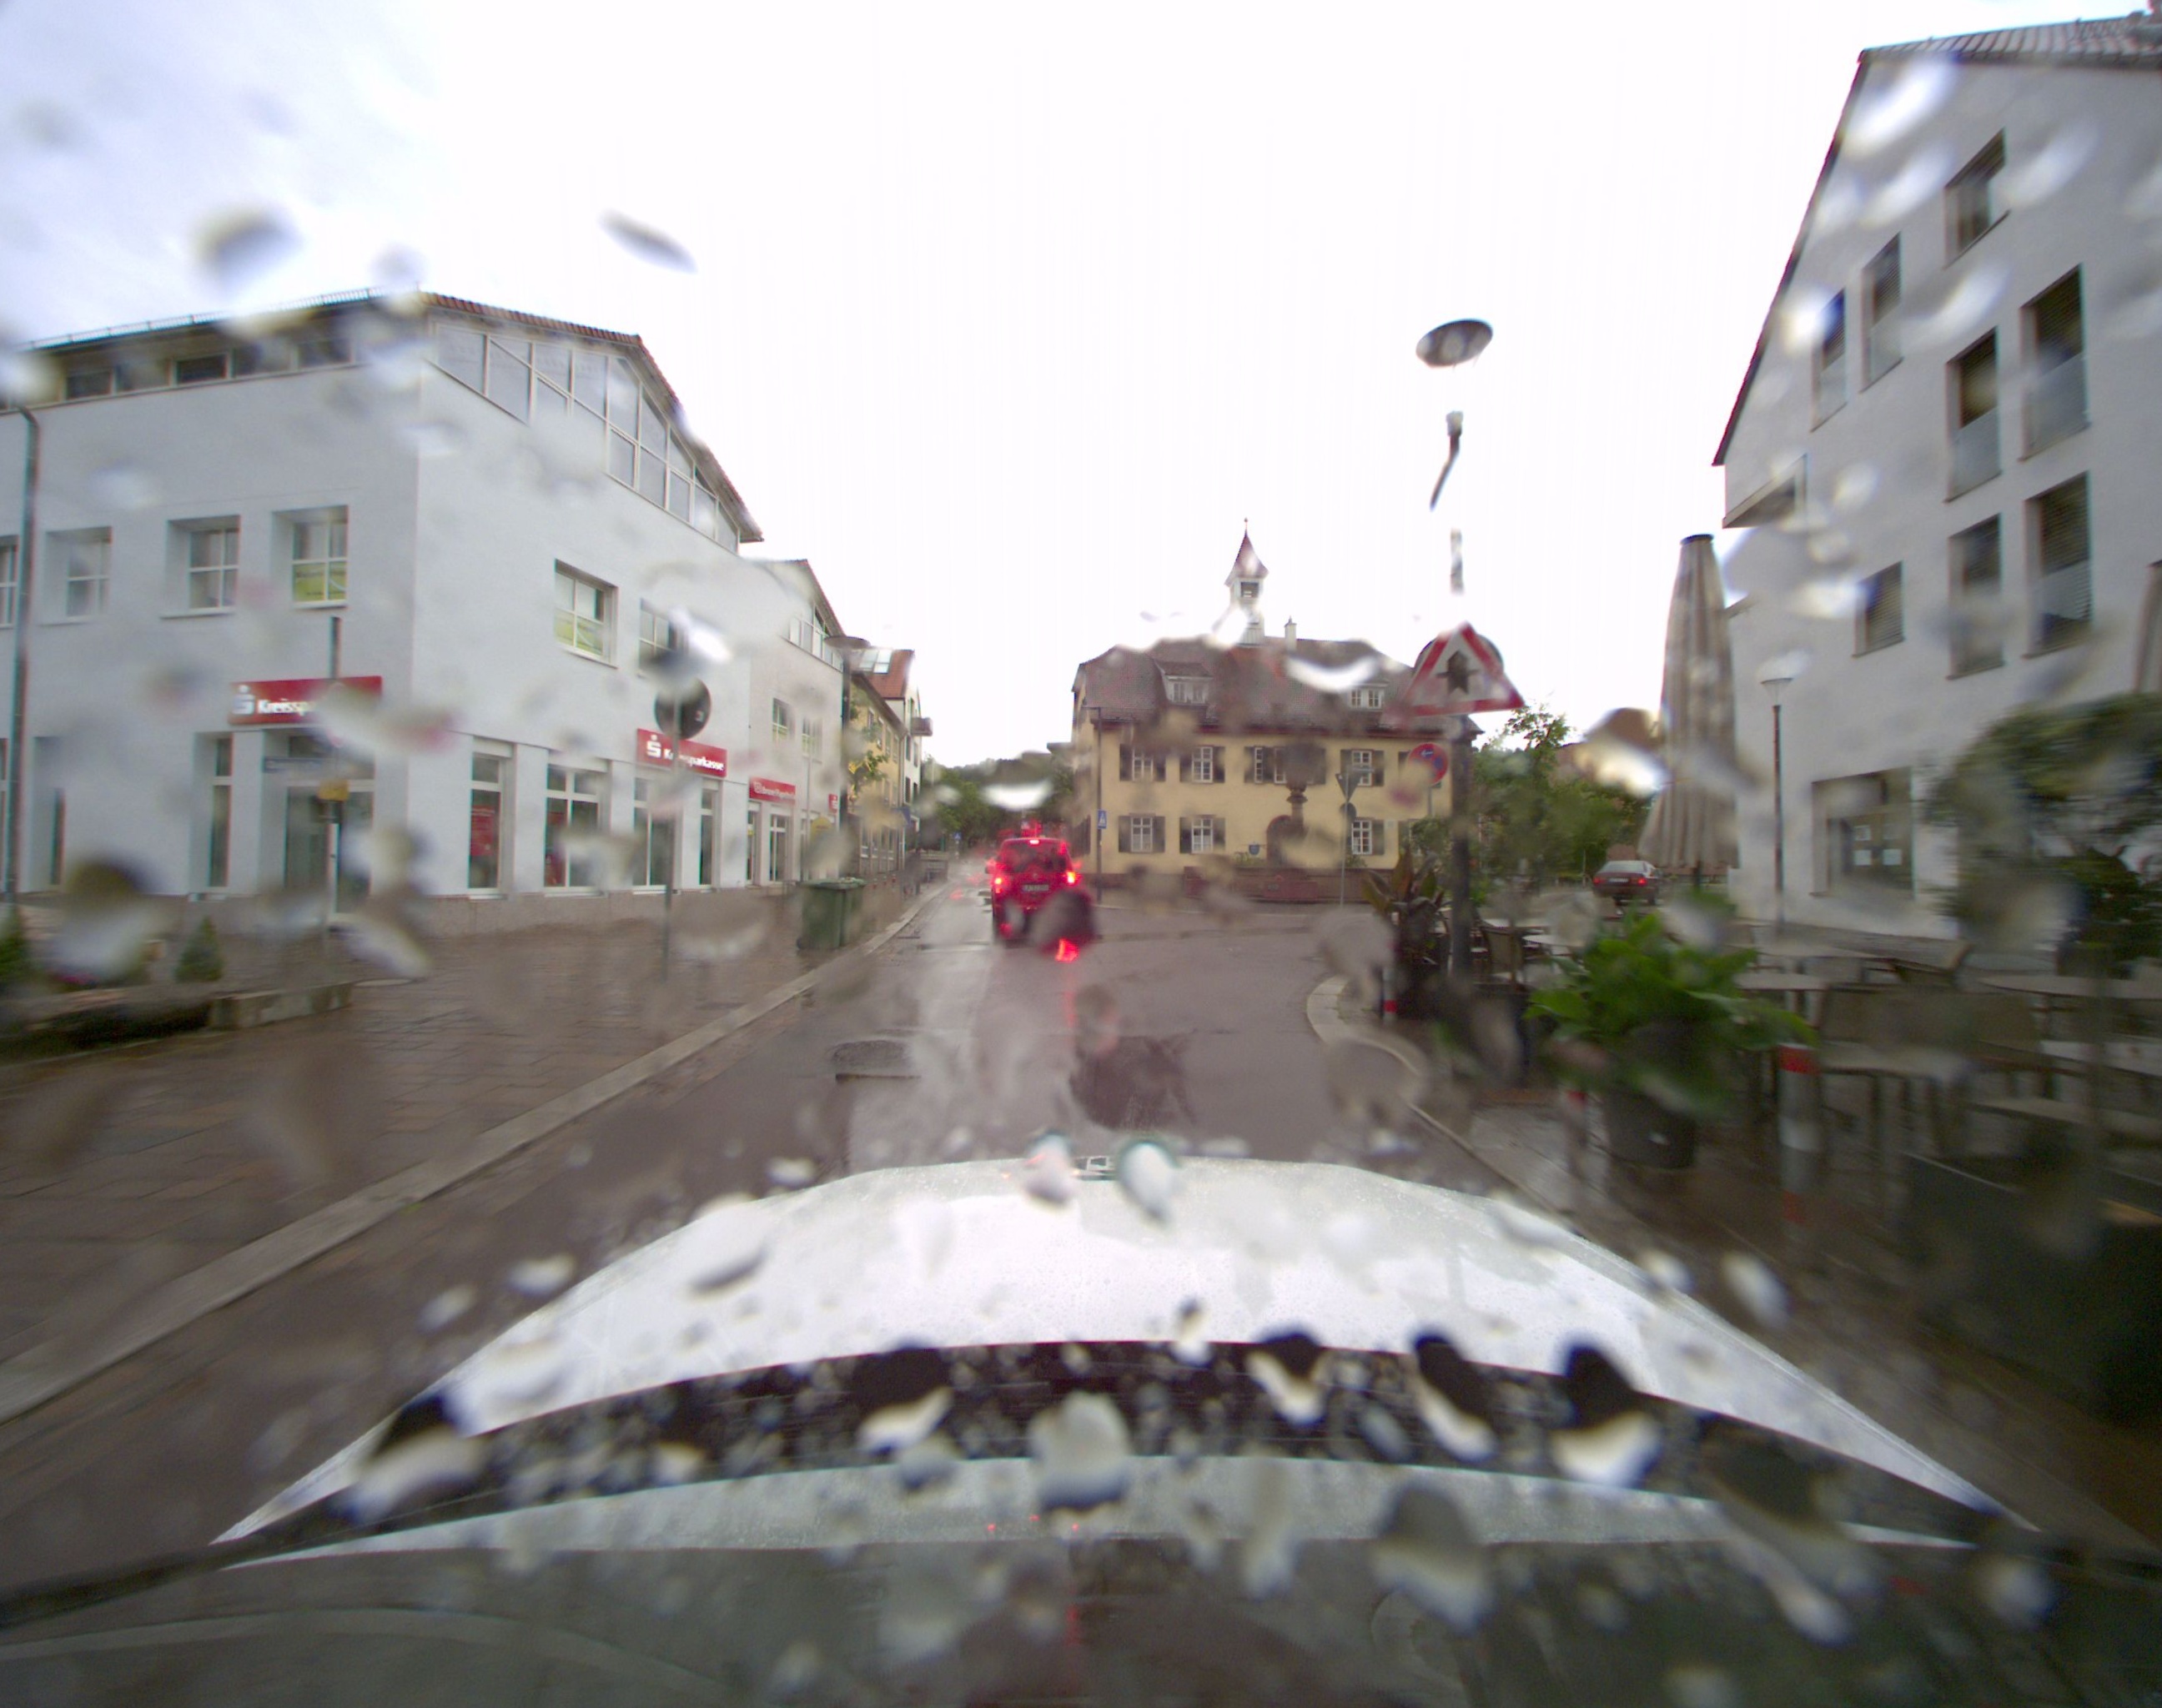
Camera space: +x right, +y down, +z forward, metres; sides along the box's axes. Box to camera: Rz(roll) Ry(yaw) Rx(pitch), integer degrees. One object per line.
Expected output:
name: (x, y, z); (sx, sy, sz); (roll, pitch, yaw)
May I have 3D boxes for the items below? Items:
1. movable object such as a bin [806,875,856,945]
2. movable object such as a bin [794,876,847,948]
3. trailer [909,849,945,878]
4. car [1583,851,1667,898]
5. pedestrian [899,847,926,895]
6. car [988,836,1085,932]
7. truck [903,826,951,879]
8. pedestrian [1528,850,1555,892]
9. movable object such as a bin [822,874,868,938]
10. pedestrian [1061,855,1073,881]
movable object such as a bin: (-4.109, 0.911, 13.401); (0.656, 1.115, 0.552); (0, -1, -2)
movable object such as a bin: (-4.090, 0.900, 12.831); (0.656, 1.082, 0.552); (0, -1, -2)
trailer: (-7.748, 0.447, 41.088); (1.728, 1.346, 3.149); (0, 1, -11)
car: (17.392, 0.617, 25.975); (1.651, 1.363, 3.628); (-1, -1, 43)
pedestrian: (-5.991, 0.596, 28.993); (0.864, 1.693, 0.715); (0, 0, -6)
car: (-1.073, 0.573, 17.874); (1.860, 1.830, 4.176); (-1, 0, -6)
truck: (-8.636, -0.130, 45.871); (2.474, 2.795, 6.576); (0, 1, -11)
pedestrian: (20.150, 0.742, 35.621); (0.689, 1.822, 0.784); (0, -1, -32)
movable object such as a bin: (-4.195, 0.919, 14.480); (0.657, 1.096, 0.612); (0, -1, -4)
pedestrian: (-0.912, 0.884, 51.513); (0.726, 1.617, 0.693); (0, -1, -3)
